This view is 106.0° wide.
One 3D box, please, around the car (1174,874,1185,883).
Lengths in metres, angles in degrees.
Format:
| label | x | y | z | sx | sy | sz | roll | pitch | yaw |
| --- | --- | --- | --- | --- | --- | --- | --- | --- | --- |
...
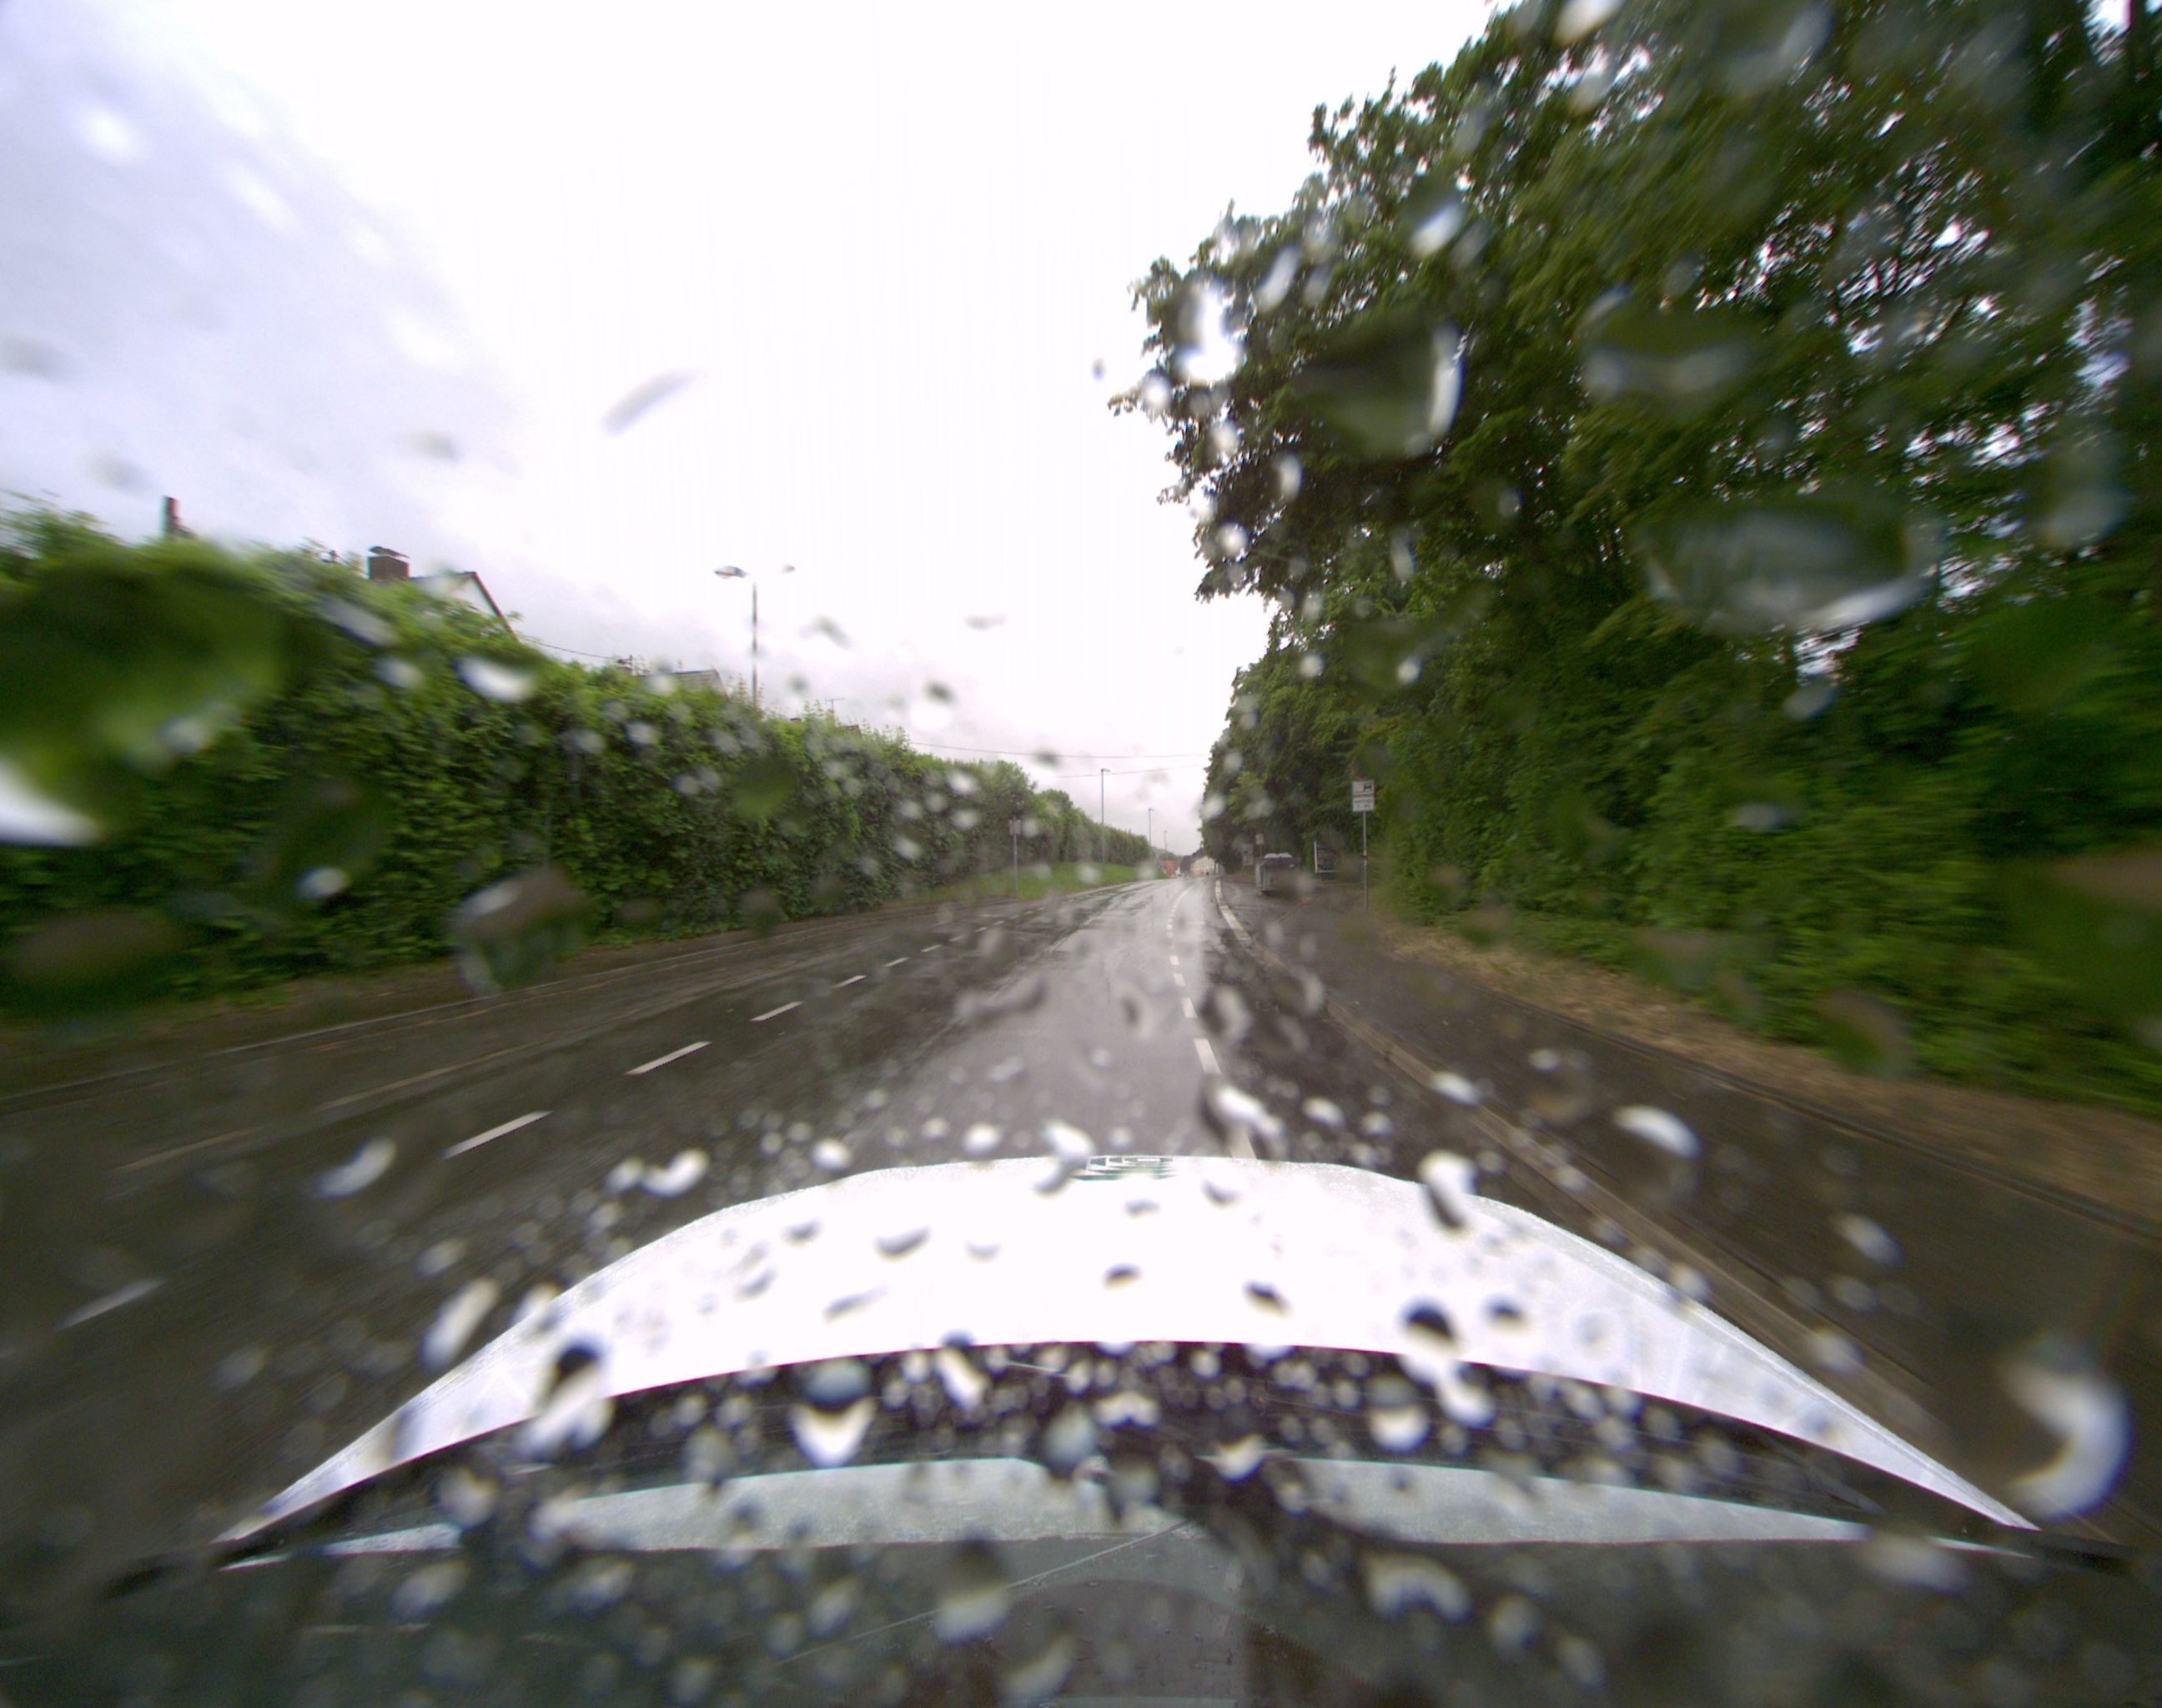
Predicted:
| label | x | y | z | sx | sy | sz | roll | pitch | yaw |
| --- | --- | --- | --- | --- | --- | --- | --- | --- | --- |
| car | 20.535 | 5.112 | 169.715 | 1.987 | 1.611 | 4.000 | 0 | -1 | 0 |
